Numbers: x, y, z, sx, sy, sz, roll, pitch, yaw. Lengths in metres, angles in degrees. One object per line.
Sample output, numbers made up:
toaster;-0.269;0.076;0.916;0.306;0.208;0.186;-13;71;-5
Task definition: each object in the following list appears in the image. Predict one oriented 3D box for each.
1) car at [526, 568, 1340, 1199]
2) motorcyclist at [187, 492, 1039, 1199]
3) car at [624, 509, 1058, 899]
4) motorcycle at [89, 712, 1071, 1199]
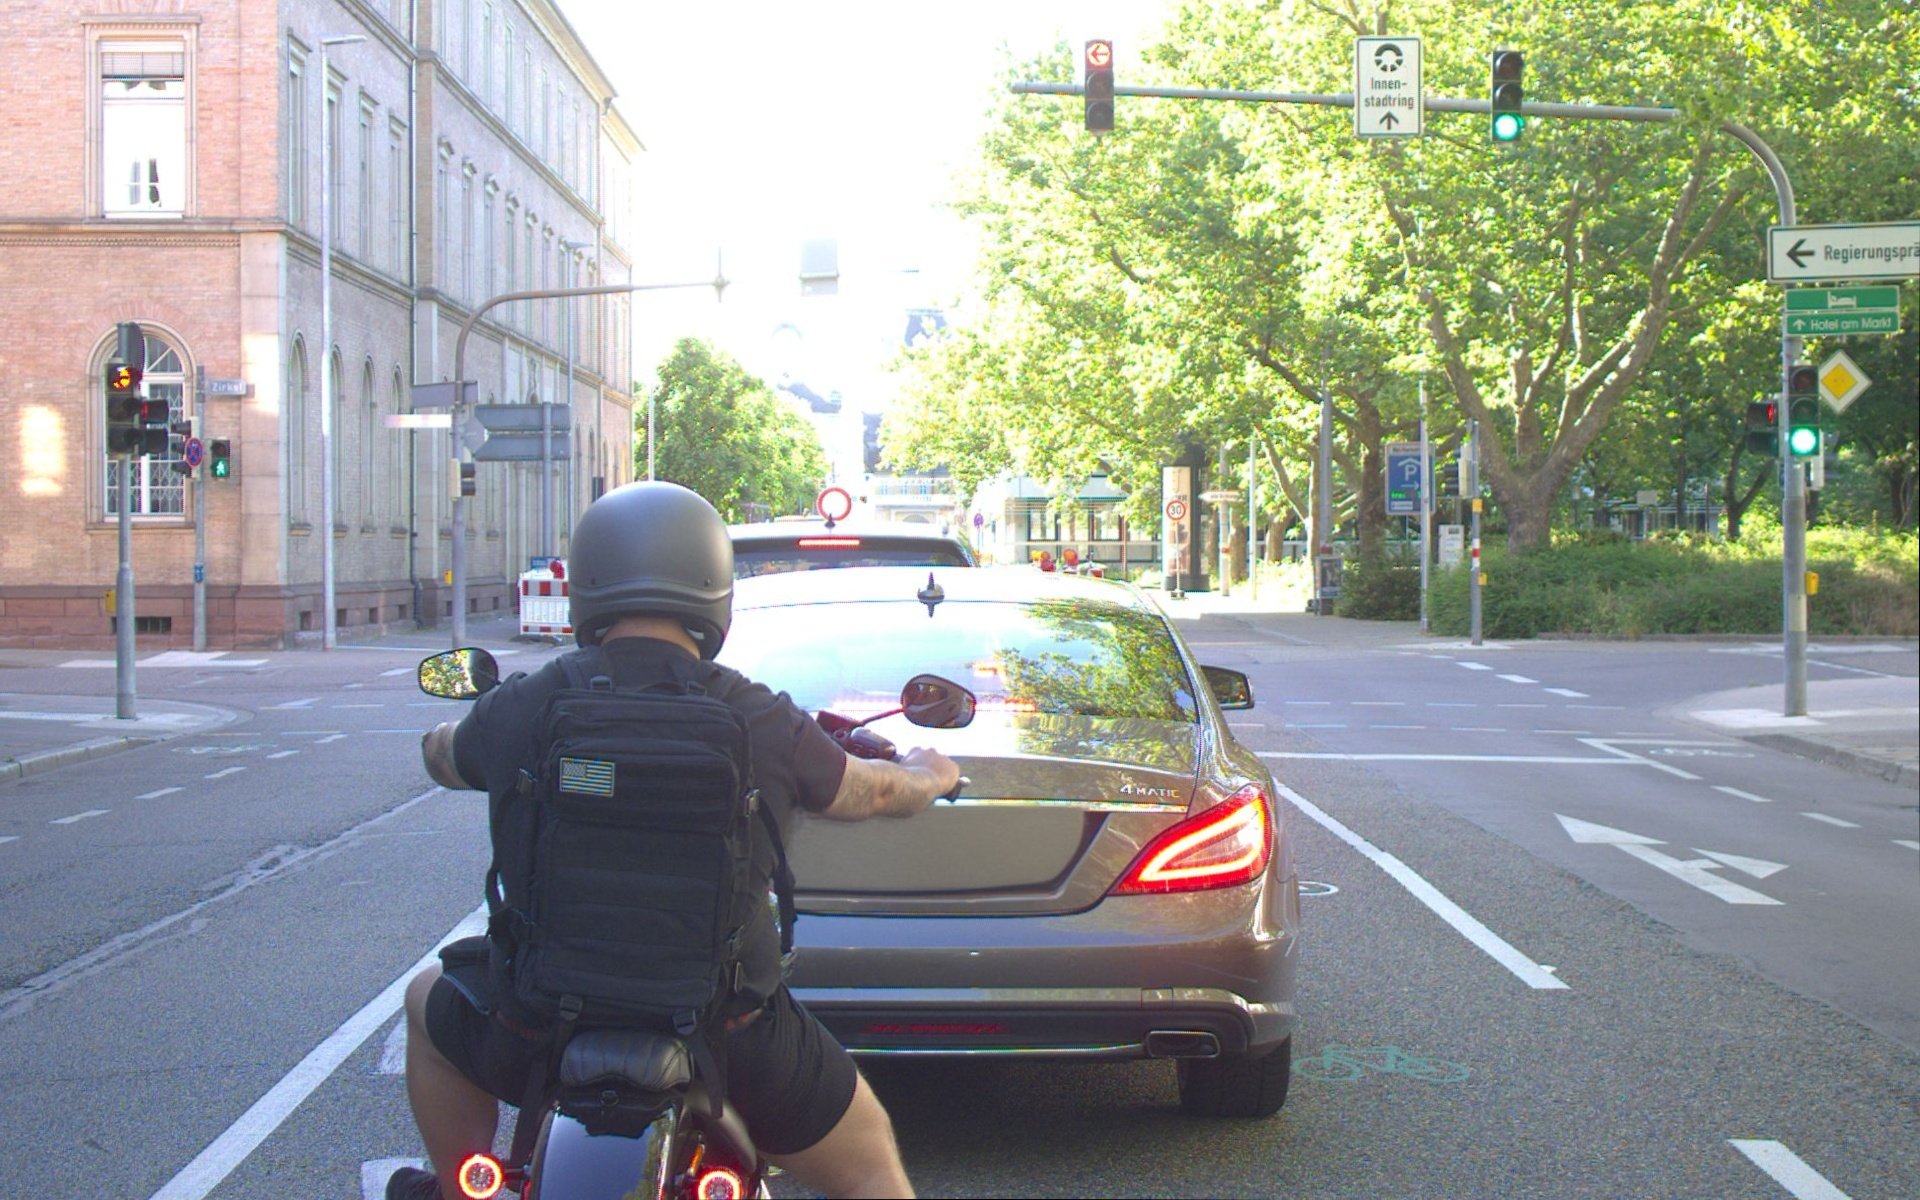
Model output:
car;-0.082;0.638;9.677;1.822;1.432;3.806;1;1;-1
motorcyclist;-0.479;0.633;5.289;1.099;1.560;1.071;1;0;6
car;-0.540;0.431;16.955;1.863;1.672;4.000;1;1;-1
motorcycle;-0.465;0.836;5.513;1.118;1.203;2.212;1;1;6
